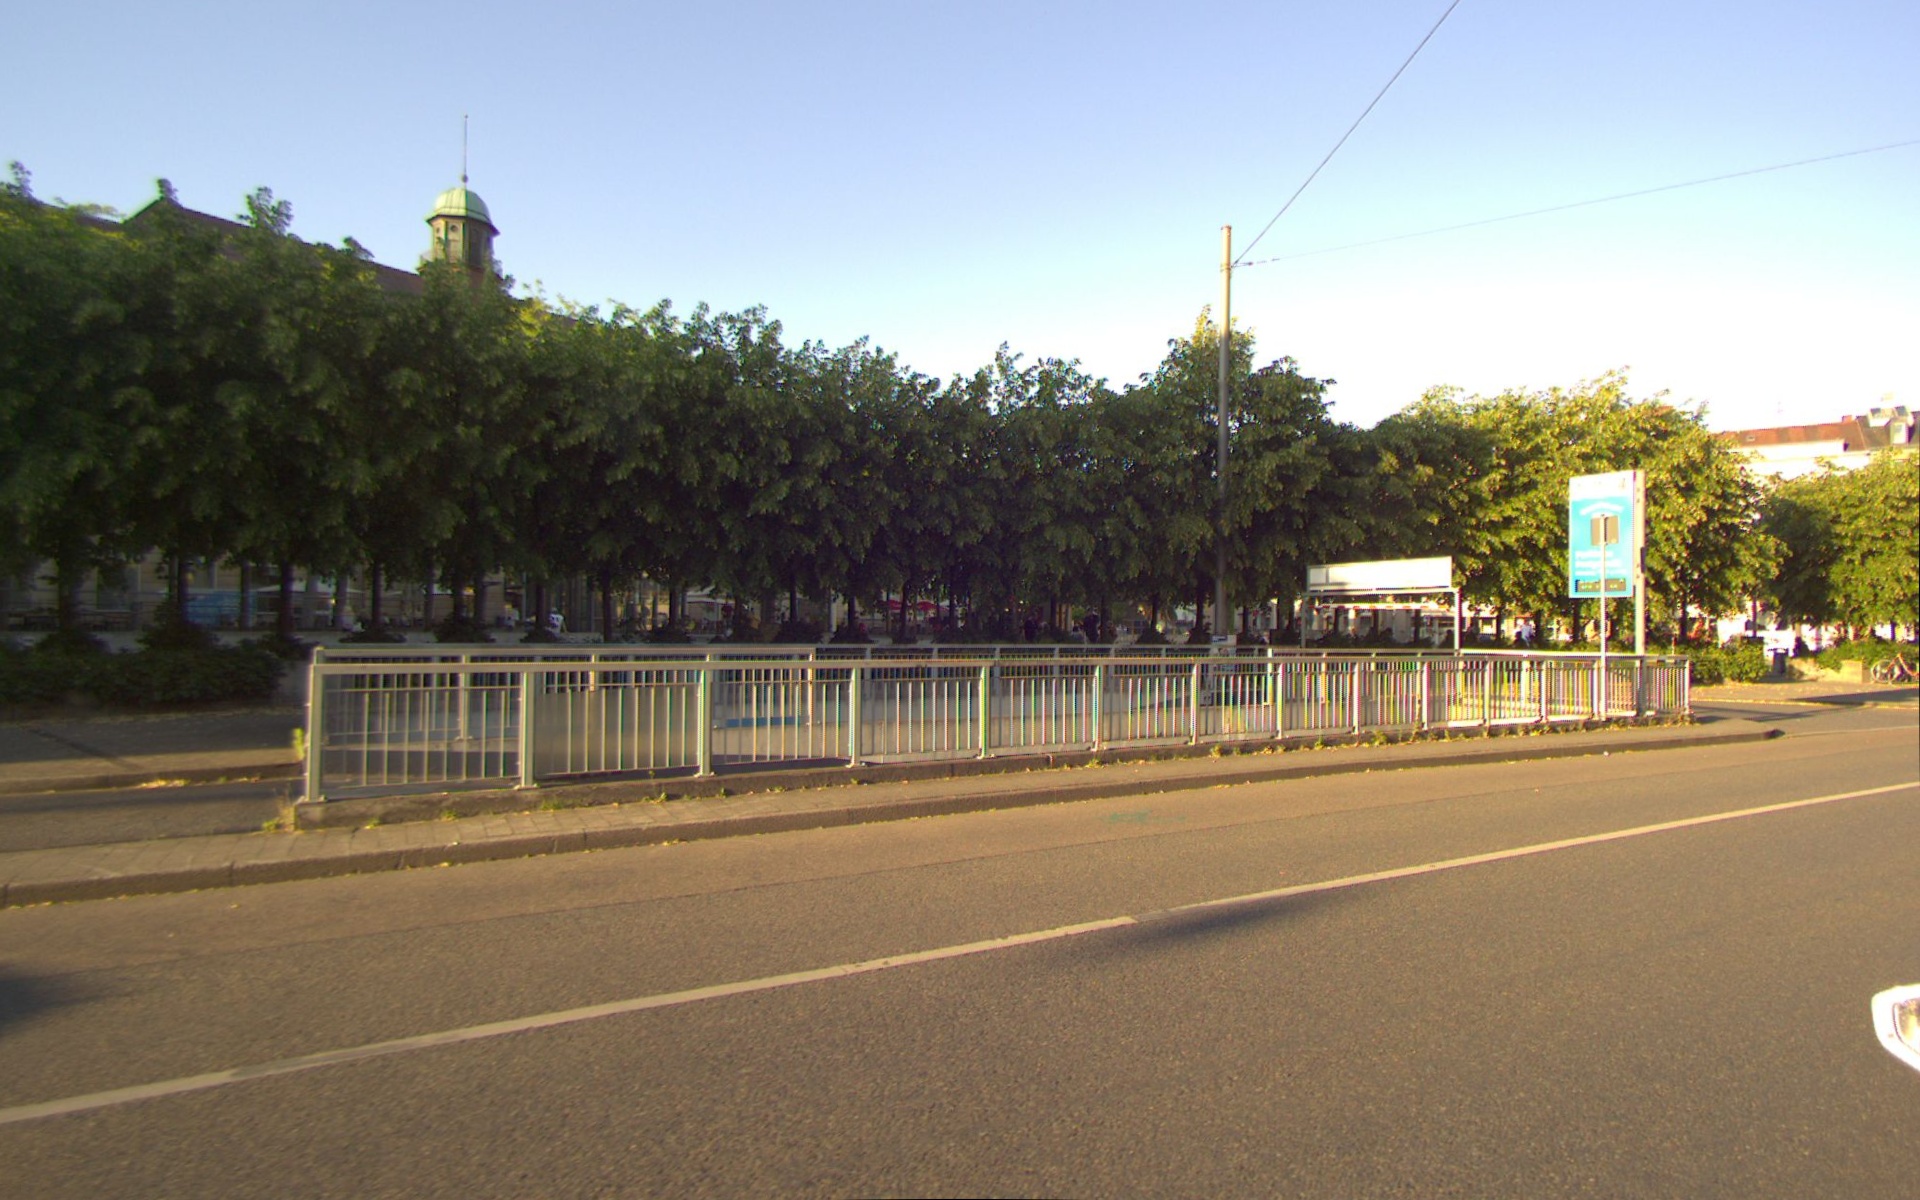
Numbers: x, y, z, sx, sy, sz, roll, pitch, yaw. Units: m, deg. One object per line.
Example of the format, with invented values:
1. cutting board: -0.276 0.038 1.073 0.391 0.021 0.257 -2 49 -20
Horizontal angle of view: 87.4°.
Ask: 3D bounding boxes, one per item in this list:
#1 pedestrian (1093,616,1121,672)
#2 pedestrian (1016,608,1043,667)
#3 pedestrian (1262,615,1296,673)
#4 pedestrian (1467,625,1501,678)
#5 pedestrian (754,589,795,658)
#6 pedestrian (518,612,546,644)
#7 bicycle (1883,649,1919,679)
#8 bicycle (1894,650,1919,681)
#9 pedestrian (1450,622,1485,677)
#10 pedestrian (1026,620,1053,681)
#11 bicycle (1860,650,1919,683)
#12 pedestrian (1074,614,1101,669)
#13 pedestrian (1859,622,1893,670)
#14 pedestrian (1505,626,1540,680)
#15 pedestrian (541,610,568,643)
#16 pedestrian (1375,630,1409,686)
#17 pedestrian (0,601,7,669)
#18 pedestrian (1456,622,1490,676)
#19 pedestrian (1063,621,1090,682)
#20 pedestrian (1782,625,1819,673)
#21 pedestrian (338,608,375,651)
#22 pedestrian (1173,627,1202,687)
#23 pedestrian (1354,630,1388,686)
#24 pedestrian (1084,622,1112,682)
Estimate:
1. pedestrian: 4.273 1.273 29.200 0.558 1.616 0.791 1 -1 -10
2. pedestrian: 1.934 1.034 28.011 0.558 1.616 0.791 1 -1 -10
3. pedestrian: 9.055 1.232 28.535 0.665 1.616 0.678 1 -1 -10
4. pedestrian: 16.327 1.598 31.301 0.558 1.616 0.791 1 -1 -10
5. pedestrian: -4.410 0.560 23.887 0.693 1.616 0.673 0 -1 42
6. pedestrian: -14.836 0.974 34.847 0.703 1.073 0.609 0 -1 36
7. bicycle: 29.742 2.011 30.974 0.479 0.864 1.814 1 1 -32
8. bicycle: 29.223 2.004 30.046 0.479 0.864 1.814 1 1 -32
9. pedestrian: 15.199 1.467 30.076 0.558 1.616 0.791 1 -1 -10
10. pedestrian: 2.149 1.351 27.106 0.558 1.616 0.678 1 -1 -10
11. bicycle: 27.579 1.956 29.342 0.479 0.864 1.814 1 1 -32
12. pedestrian: 3.797 1.235 29.903 0.558 1.616 0.791 1 -1 -10
13. pedestrian: 31.106 1.565 34.115 0.478 1.616 0.684 1 -1 -10
14. pedestrian: 17.160 1.621 30.666 0.558 1.616 0.791 1 -1 -10
15. pedestrian: -14.314 0.942 35.437 0.703 1.134 0.609 0 -1 36
16. pedestrian: 12.765 1.699 29.682 0.665 1.616 0.678 1 -1 -10
17. pedestrian: -23.008 0.810 23.628 0.778 1.607 0.652 0 -3 36
18. pedestrian: 15.682 1.477 30.715 0.558 1.616 0.791 1 -1 -10
19. pedestrian: 3.155 1.384 27.231 0.558 1.616 0.678 1 -1 -10
20. pedestrian: 28.742 1.666 34.350 0.558 1.616 0.791 1 -1 -10
21. pedestrian: -18.307 0.894 30.457 0.778 1.296 0.652 0 -3 36
22. pedestrian: 6.288 1.576 27.823 0.558 1.616 0.678 1 -1 -10
23. pedestrian: 12.097 1.694 29.560 0.665 1.616 0.678 1 -1 -10
24. pedestrian: 3.755 1.404 27.274 0.558 1.616 0.678 1 -1 -10
